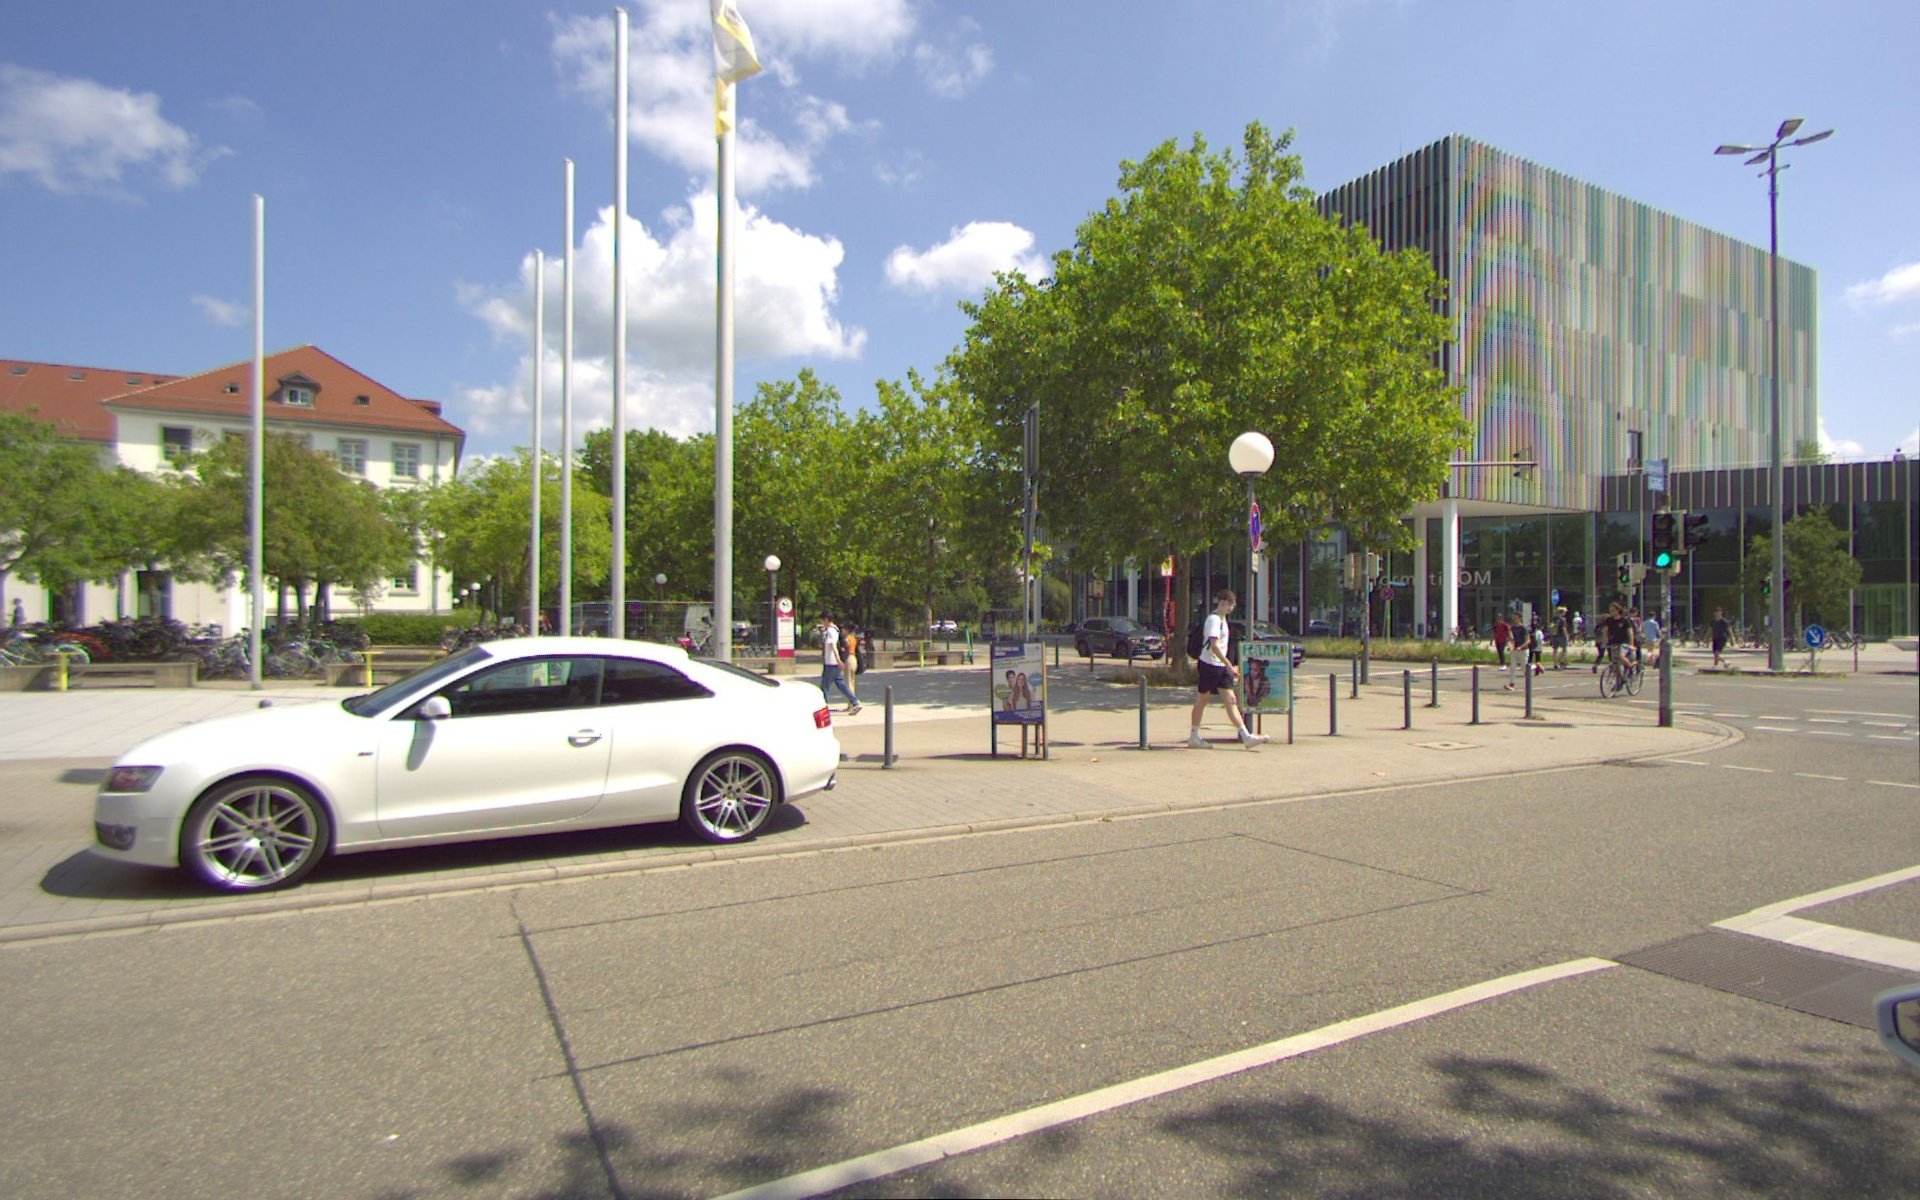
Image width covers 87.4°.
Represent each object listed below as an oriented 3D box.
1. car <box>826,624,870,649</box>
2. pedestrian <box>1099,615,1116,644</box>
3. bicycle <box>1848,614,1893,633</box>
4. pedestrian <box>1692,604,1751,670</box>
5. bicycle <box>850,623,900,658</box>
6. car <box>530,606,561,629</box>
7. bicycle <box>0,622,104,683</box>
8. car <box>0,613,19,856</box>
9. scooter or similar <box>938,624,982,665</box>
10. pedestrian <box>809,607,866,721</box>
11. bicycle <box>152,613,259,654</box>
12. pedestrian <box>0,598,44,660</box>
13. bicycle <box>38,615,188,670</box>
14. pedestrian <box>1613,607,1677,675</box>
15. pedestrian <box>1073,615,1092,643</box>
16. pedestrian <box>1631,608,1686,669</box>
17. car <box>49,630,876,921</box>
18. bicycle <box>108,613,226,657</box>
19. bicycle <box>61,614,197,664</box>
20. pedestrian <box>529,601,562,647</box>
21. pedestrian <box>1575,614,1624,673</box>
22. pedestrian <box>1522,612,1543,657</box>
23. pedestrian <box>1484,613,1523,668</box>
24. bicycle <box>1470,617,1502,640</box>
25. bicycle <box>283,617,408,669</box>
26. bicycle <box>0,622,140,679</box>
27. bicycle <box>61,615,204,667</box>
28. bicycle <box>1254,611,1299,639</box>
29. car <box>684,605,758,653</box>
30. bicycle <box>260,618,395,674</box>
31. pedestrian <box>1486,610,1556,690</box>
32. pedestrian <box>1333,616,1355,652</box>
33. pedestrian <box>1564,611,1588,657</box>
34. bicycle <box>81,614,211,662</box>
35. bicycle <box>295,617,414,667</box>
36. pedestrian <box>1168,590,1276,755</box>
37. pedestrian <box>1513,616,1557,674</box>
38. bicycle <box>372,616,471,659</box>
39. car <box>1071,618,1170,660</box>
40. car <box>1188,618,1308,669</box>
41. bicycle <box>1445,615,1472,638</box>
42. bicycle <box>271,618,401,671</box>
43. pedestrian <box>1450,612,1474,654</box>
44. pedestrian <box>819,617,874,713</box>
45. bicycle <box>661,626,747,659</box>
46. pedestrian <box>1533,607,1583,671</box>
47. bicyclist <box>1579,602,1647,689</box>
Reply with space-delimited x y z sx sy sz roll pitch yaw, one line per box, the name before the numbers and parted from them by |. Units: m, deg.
car | -6.837 2.196 60.965 1.617 1.505 3.979 0 -1 -22
pedestrian | 11.732 2.331 79.924 1.002 2.231 0.968 1 0 -29
bicycle | 77.633 2.016 85.620 2.908 1.595 1.118 1 0 -2
pedestrian | 22.116 1.071 29.174 1.064 1.895 0.832 0 -1 -6
bicycle | -2.974 1.386 34.711 0.657 1.128 2.595 1 -1 -30
car | -35.992 1.555 87.139 1.844 1.965 4.365 1 -2 -31
bicycle | -23.183 1.284 24.822 2.896 1.430 1.147 1 -1 -8
car | -7.331 0.819 4.760 3.863 1.487 1.669 1 1 -29
scooter or similar | -0.011 1.358 30.820 0.488 1.212 1.719 1 -1 -33
pedestrian | -2.088 1.062 17.055 0.760 1.884 0.717 1 -1 -28
bicycle | -27.350 1.216 36.484 2.907 1.430 1.060 1 -1 -21
pedestrian | -34.799 1.072 37.239 1.029 2.229 1.016 1 -1 -31
bicycle | -23.063 1.150 27.432 2.905 1.430 1.061 1 -1 -19
pedestrian | 18.914 1.129 27.739 1.245 1.831 0.807 0 -1 -13
pedestrian | 9.676 2.283 79.321 1.115 2.205 0.968 1 -1 -29
pedestrian | 21.385 1.165 30.762 1.075 1.843 0.863 0 -1 -6
car | -3.030 0.951 6.989 4.605 1.414 1.669 1 1 -29
bicycle | -26.890 1.190 34.130 2.907 1.430 1.060 1 -1 -21
bicycle | -24.780 1.163 30.027 2.905 1.430 1.061 1 -1 -19
pedestrian | -20.487 1.169 49.643 1.020 2.229 1.160 0 -1 14
pedestrian | 18.439 1.244 28.972 0.847 1.676 0.826 0 -1 -15
pedestrian | 33.721 2.020 59.203 0.957 2.599 1.014 1 0 25
pedestrian | 16.808 1.244 31.081 0.745 1.700 0.751 0 -1 -26
bicycle | 28.995 1.555 55.415 1.352 1.253 2.949 0 -1 24
bicycle | -17.809 1.243 29.216 2.907 1.430 1.060 1 -1 -21
bicycle | -23.258 1.300 26.041 2.896 1.430 1.147 1 -1 -8
bicycle | -23.443 1.160 28.528 2.905 1.430 1.061 1 -1 -19
bicycle | 21.567 1.705 68.475 2.906 1.863 1.013 1 -1 -20
car | -10.449 1.247 43.674 1.844 1.965 4.737 1 -2 -31
bicycle | -16.986 1.225 27.088 2.907 1.430 1.060 1 -1 -21
pedestrian | 13.638 1.198 24.423 1.377 1.880 0.701 -1 -1 -20
pedestrian | 25.748 2.261 67.314 1.002 2.377 0.968 1 0 -29
pedestrian | 35.432 1.949 57.758 0.956 2.599 1.015 1 0 18
bicycle | -25.129 1.172 31.085 2.905 1.430 1.061 1 -1 -19
bicycle | -18.197 1.252 30.278 2.907 1.430 1.060 1 -1 -21
pedestrian | 3.146 0.824 12.042 1.070 1.875 0.720 1 0 33
pedestrian | 16.315 1.277 28.505 0.788 1.619 0.768 0 -1 -27
bicycle | -18.684 1.308 34.933 2.907 1.430 1.060 1 -1 -21
car | 6.756 1.631 42.758 1.632 1.683 4.792 0 -2 -27
car | 10.158 1.513 35.789 1.632 1.683 4.266 0 -1 -27
bicycle | 27.779 1.475 55.981 1.178 1.253 2.949 0 -1 24
bicycle | -17.419 1.234 28.157 2.907 1.430 1.060 1 -1 -21
pedestrian | 31.658 2.079 63.381 1.002 2.599 0.968 1 0 -29
pedestrian | -2.038 1.144 18.013 0.736 1.673 0.840 0 -1 -27
bicycle | -9.354 1.532 36.811 2.924 1.165 0.990 1 -1 -38
pedestrian | 18.325 1.185 30.778 0.988 1.901 0.854 0 -1 -10
bicyclist | 14.121 0.964 21.728 0.984 1.841 0.789 0 -1 -19
